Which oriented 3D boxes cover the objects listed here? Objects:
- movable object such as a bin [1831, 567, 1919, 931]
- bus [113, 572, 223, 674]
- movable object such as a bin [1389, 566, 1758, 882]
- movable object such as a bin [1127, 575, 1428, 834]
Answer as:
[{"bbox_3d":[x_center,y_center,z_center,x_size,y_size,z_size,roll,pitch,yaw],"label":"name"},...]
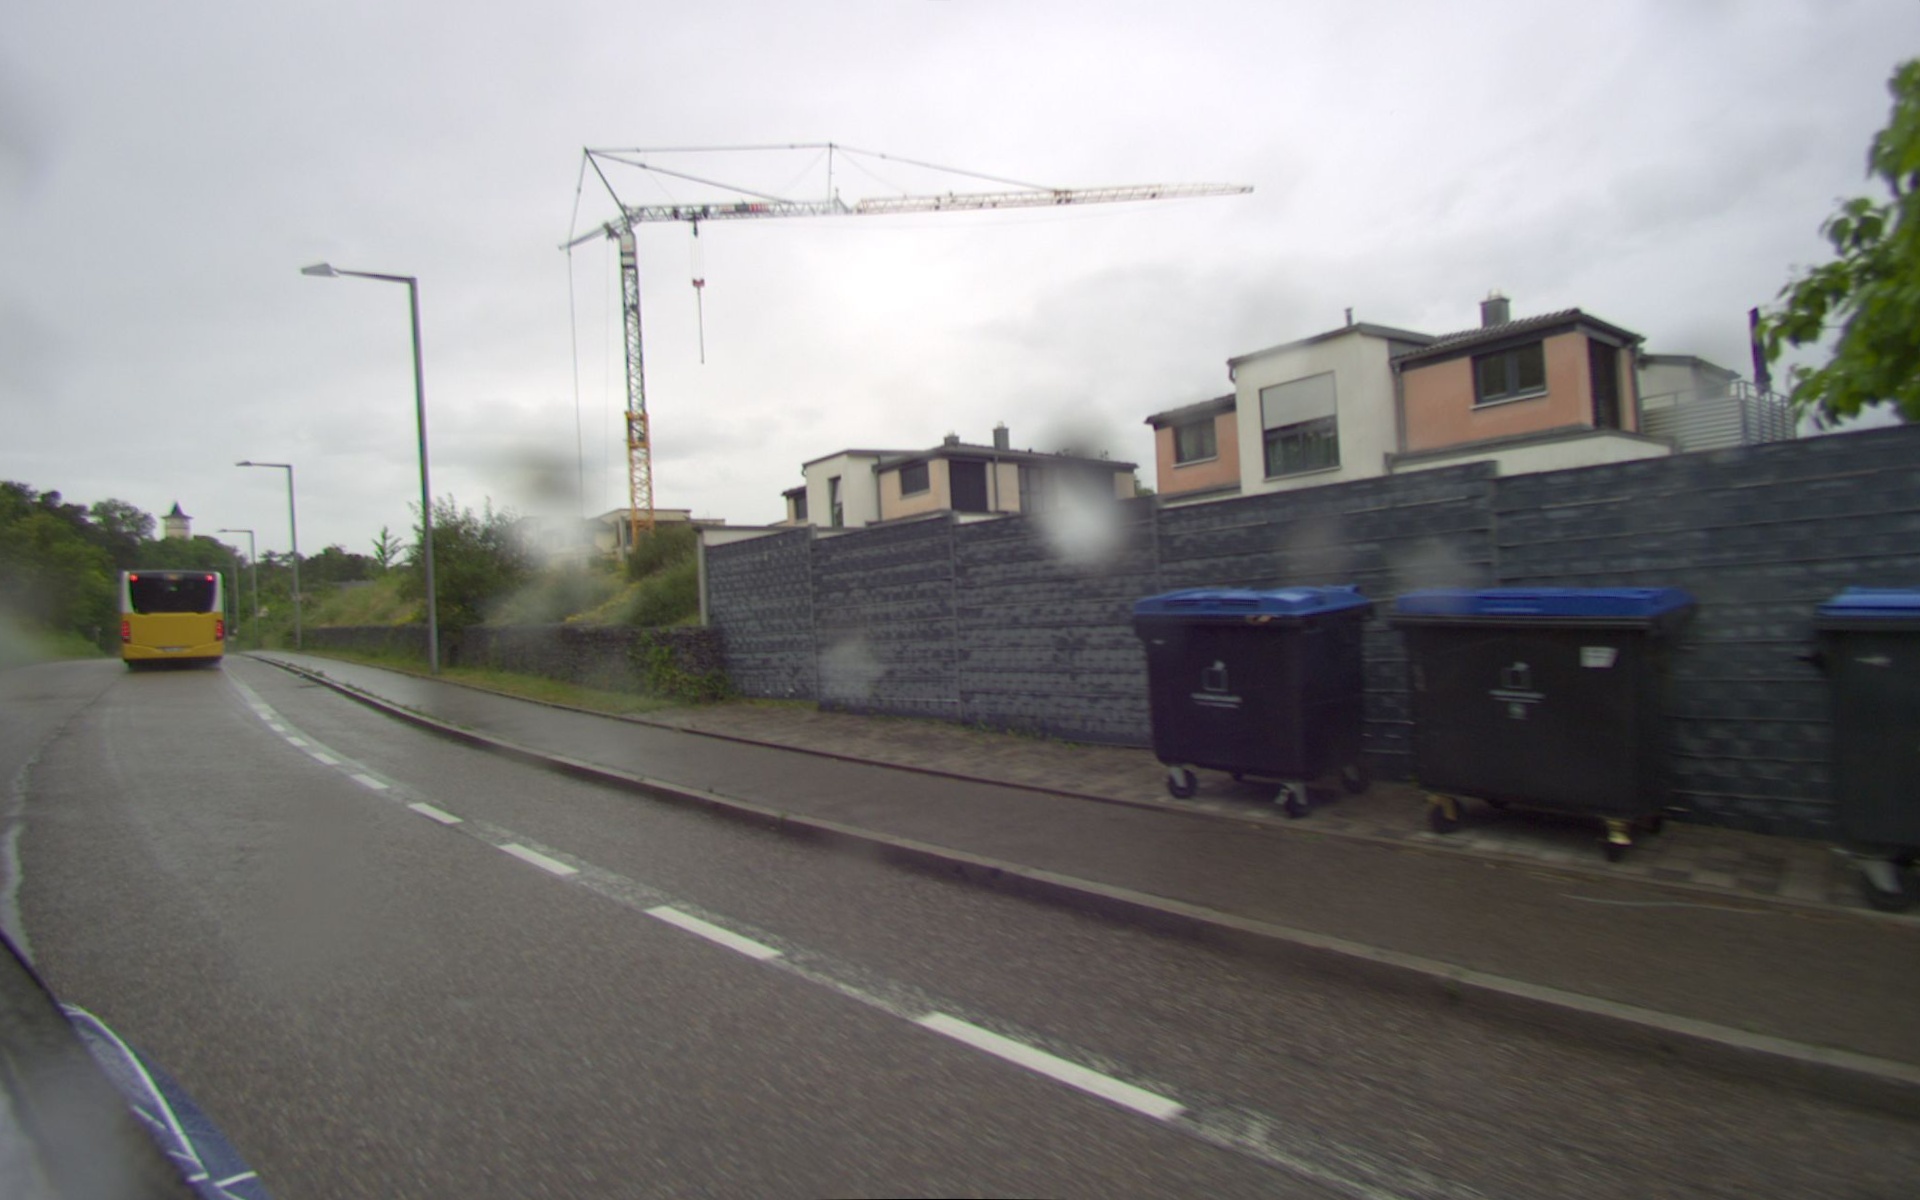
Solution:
[{"bbox_3d":[4.353,0.549,3.964,1.362,1.331,1.119,-2,3,43],"label":"movable object such as a bin"},{"bbox_3d":[-26.586,0.742,34.087,2.606,3.055,7.681,-1,0,-38],"label":"bus"},{"bbox_3d":[3.165,0.541,5.233,1.398,1.311,1.119,-2,2,43],"label":"movable object such as a bin"},{"bbox_3d":[1.978,0.573,6.330,1.398,1.349,1.119,-2,2,43],"label":"movable object such as a bin"}]
